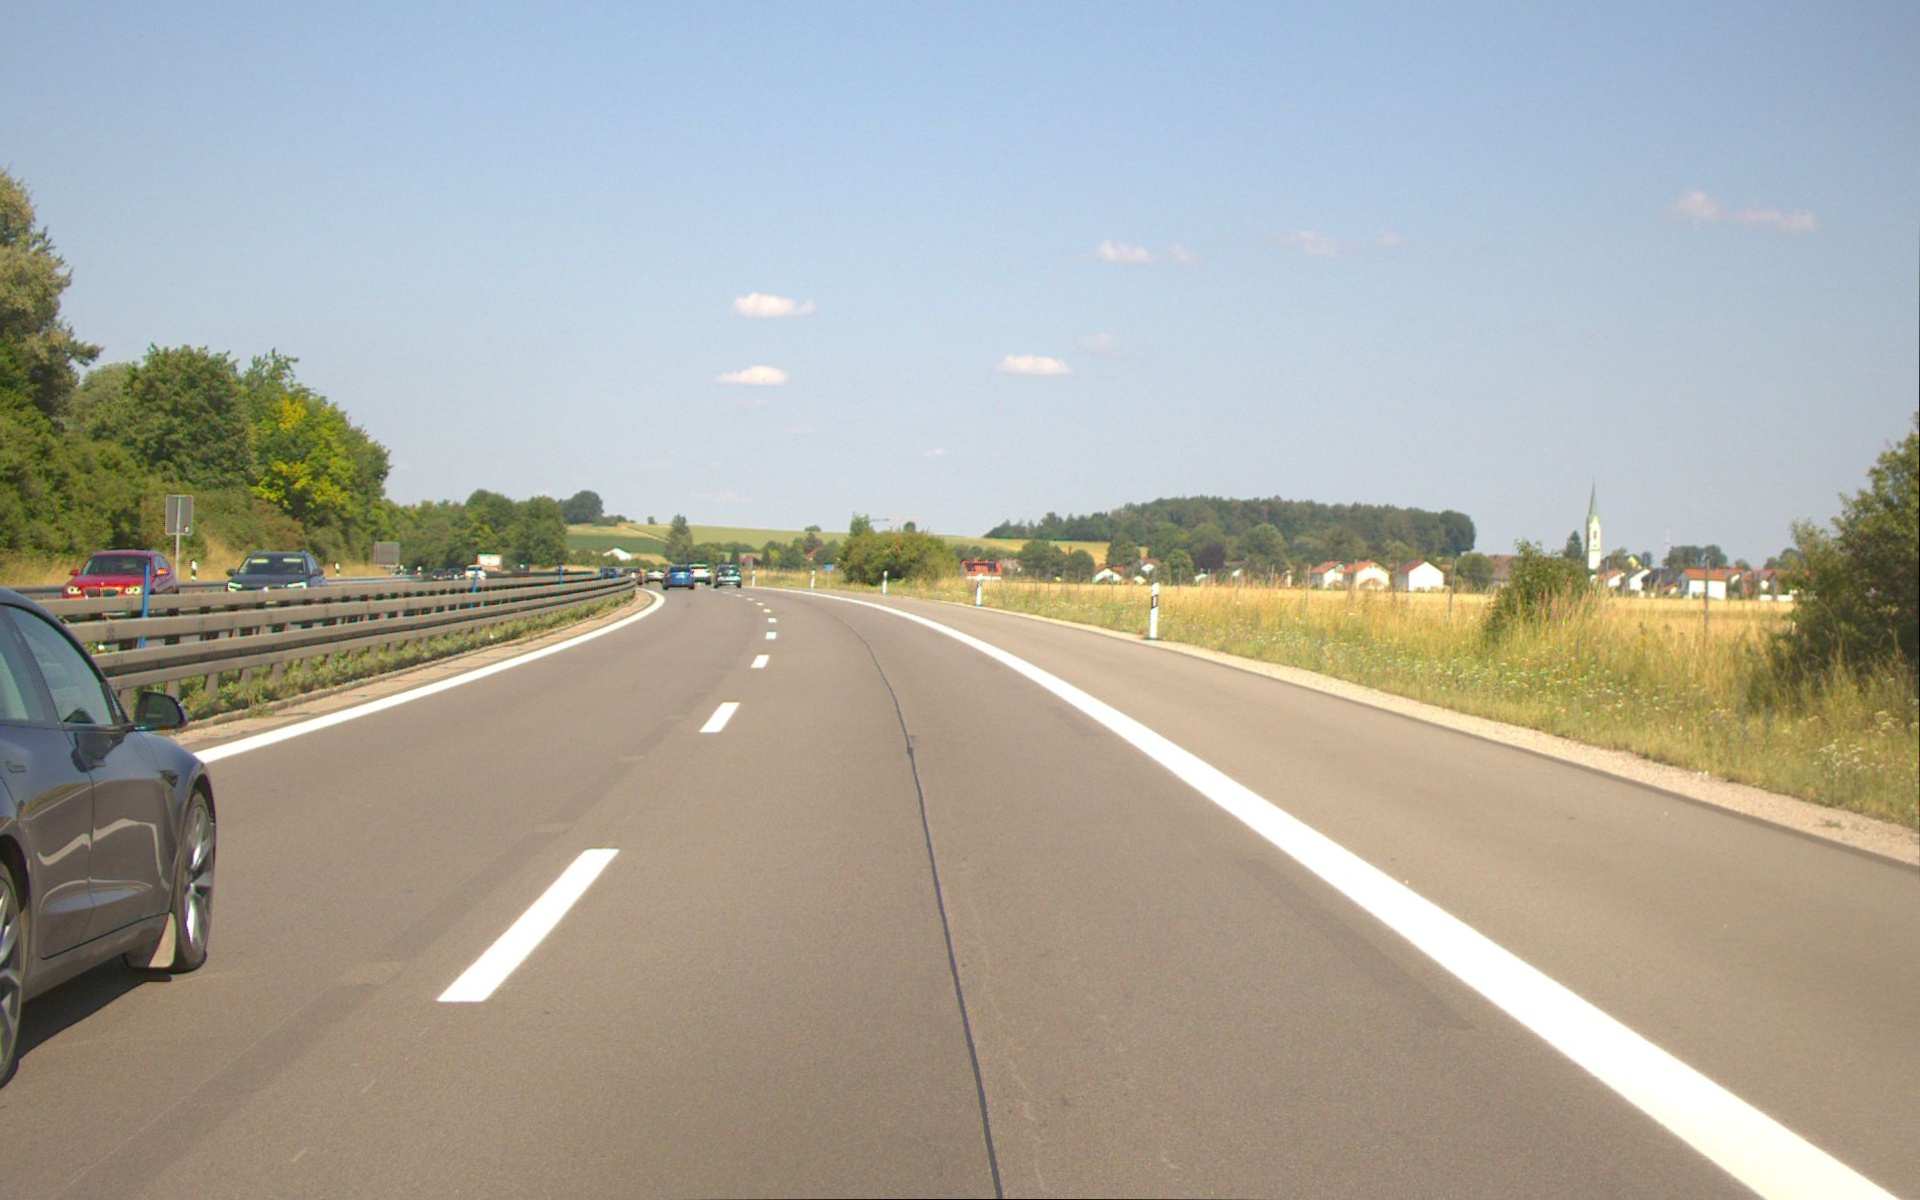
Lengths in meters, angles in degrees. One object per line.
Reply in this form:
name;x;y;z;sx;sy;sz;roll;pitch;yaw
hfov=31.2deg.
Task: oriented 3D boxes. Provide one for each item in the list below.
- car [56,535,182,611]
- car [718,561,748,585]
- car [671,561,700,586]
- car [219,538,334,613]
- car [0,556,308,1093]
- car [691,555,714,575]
car;-17.302;-0.575;70.897;1.649;1.488;4.540;1;1;-2
car;-14.184;-1.705;214.800;1.675;1.448;3.592;1;0;-6
car;-16.150;-1.554;202.133;1.676;1.448;3.592;1;0;-4
car;-14.207;-0.523;71.676;1.649;1.488;4.540;1;1;-2
car;-3.543;0.583;11.130;1.847;1.428;5.866;0;1;-1
car;-19.207;-2.634;256.212;1.676;1.448;3.592;1;0;-4
